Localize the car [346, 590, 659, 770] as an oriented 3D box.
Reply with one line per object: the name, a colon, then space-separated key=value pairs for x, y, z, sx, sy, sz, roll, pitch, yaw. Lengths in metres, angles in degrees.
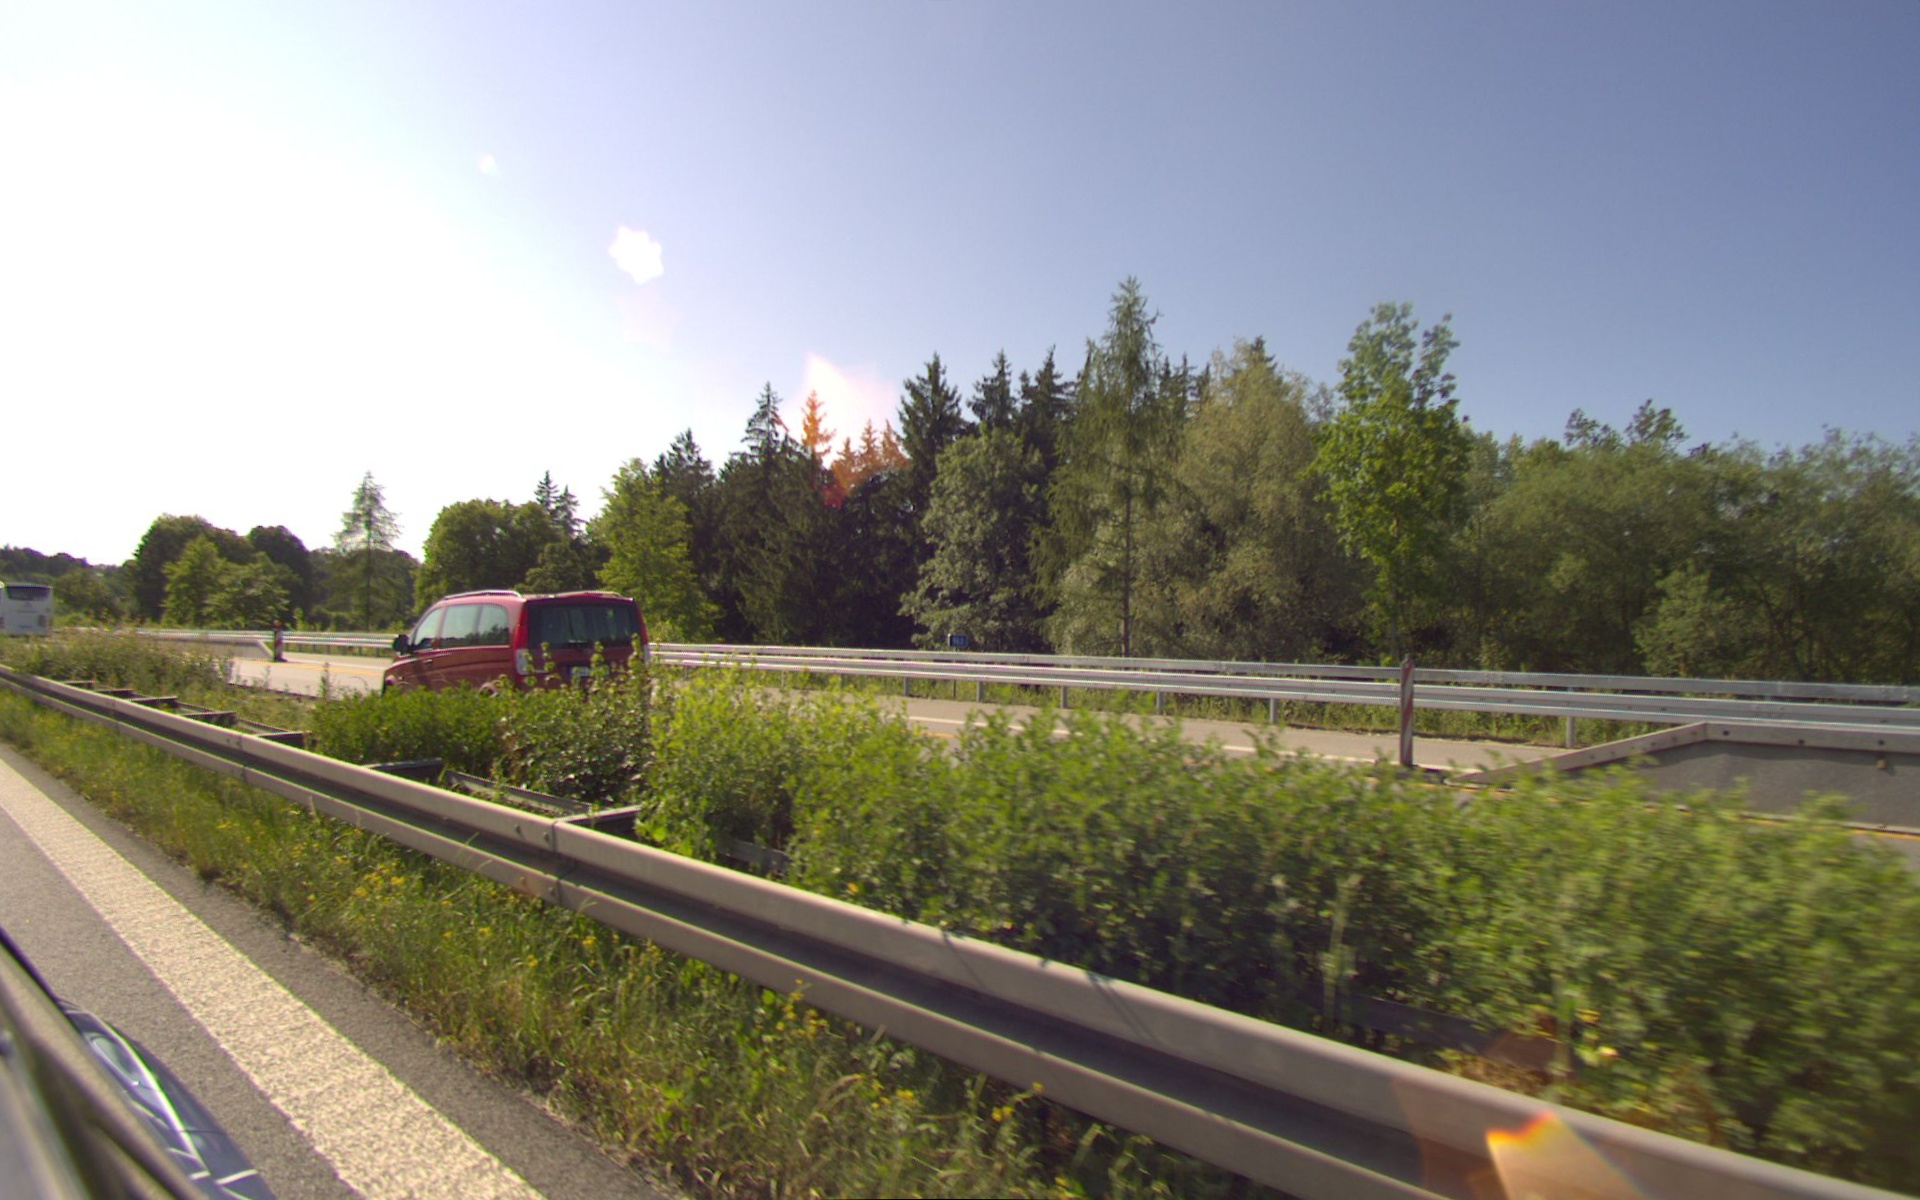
car: x=-6.438 y=0.928 z=13.823 sx=5.576 sy=1.988 sz=1.853 roll=-1 pitch=0 yaw=43

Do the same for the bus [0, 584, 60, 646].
bus: x=-61.166 y=1.036 z=65.363 sx=12.909 sy=3.699 sz=2.852 roll=-1 pitch=-2 yaw=41
